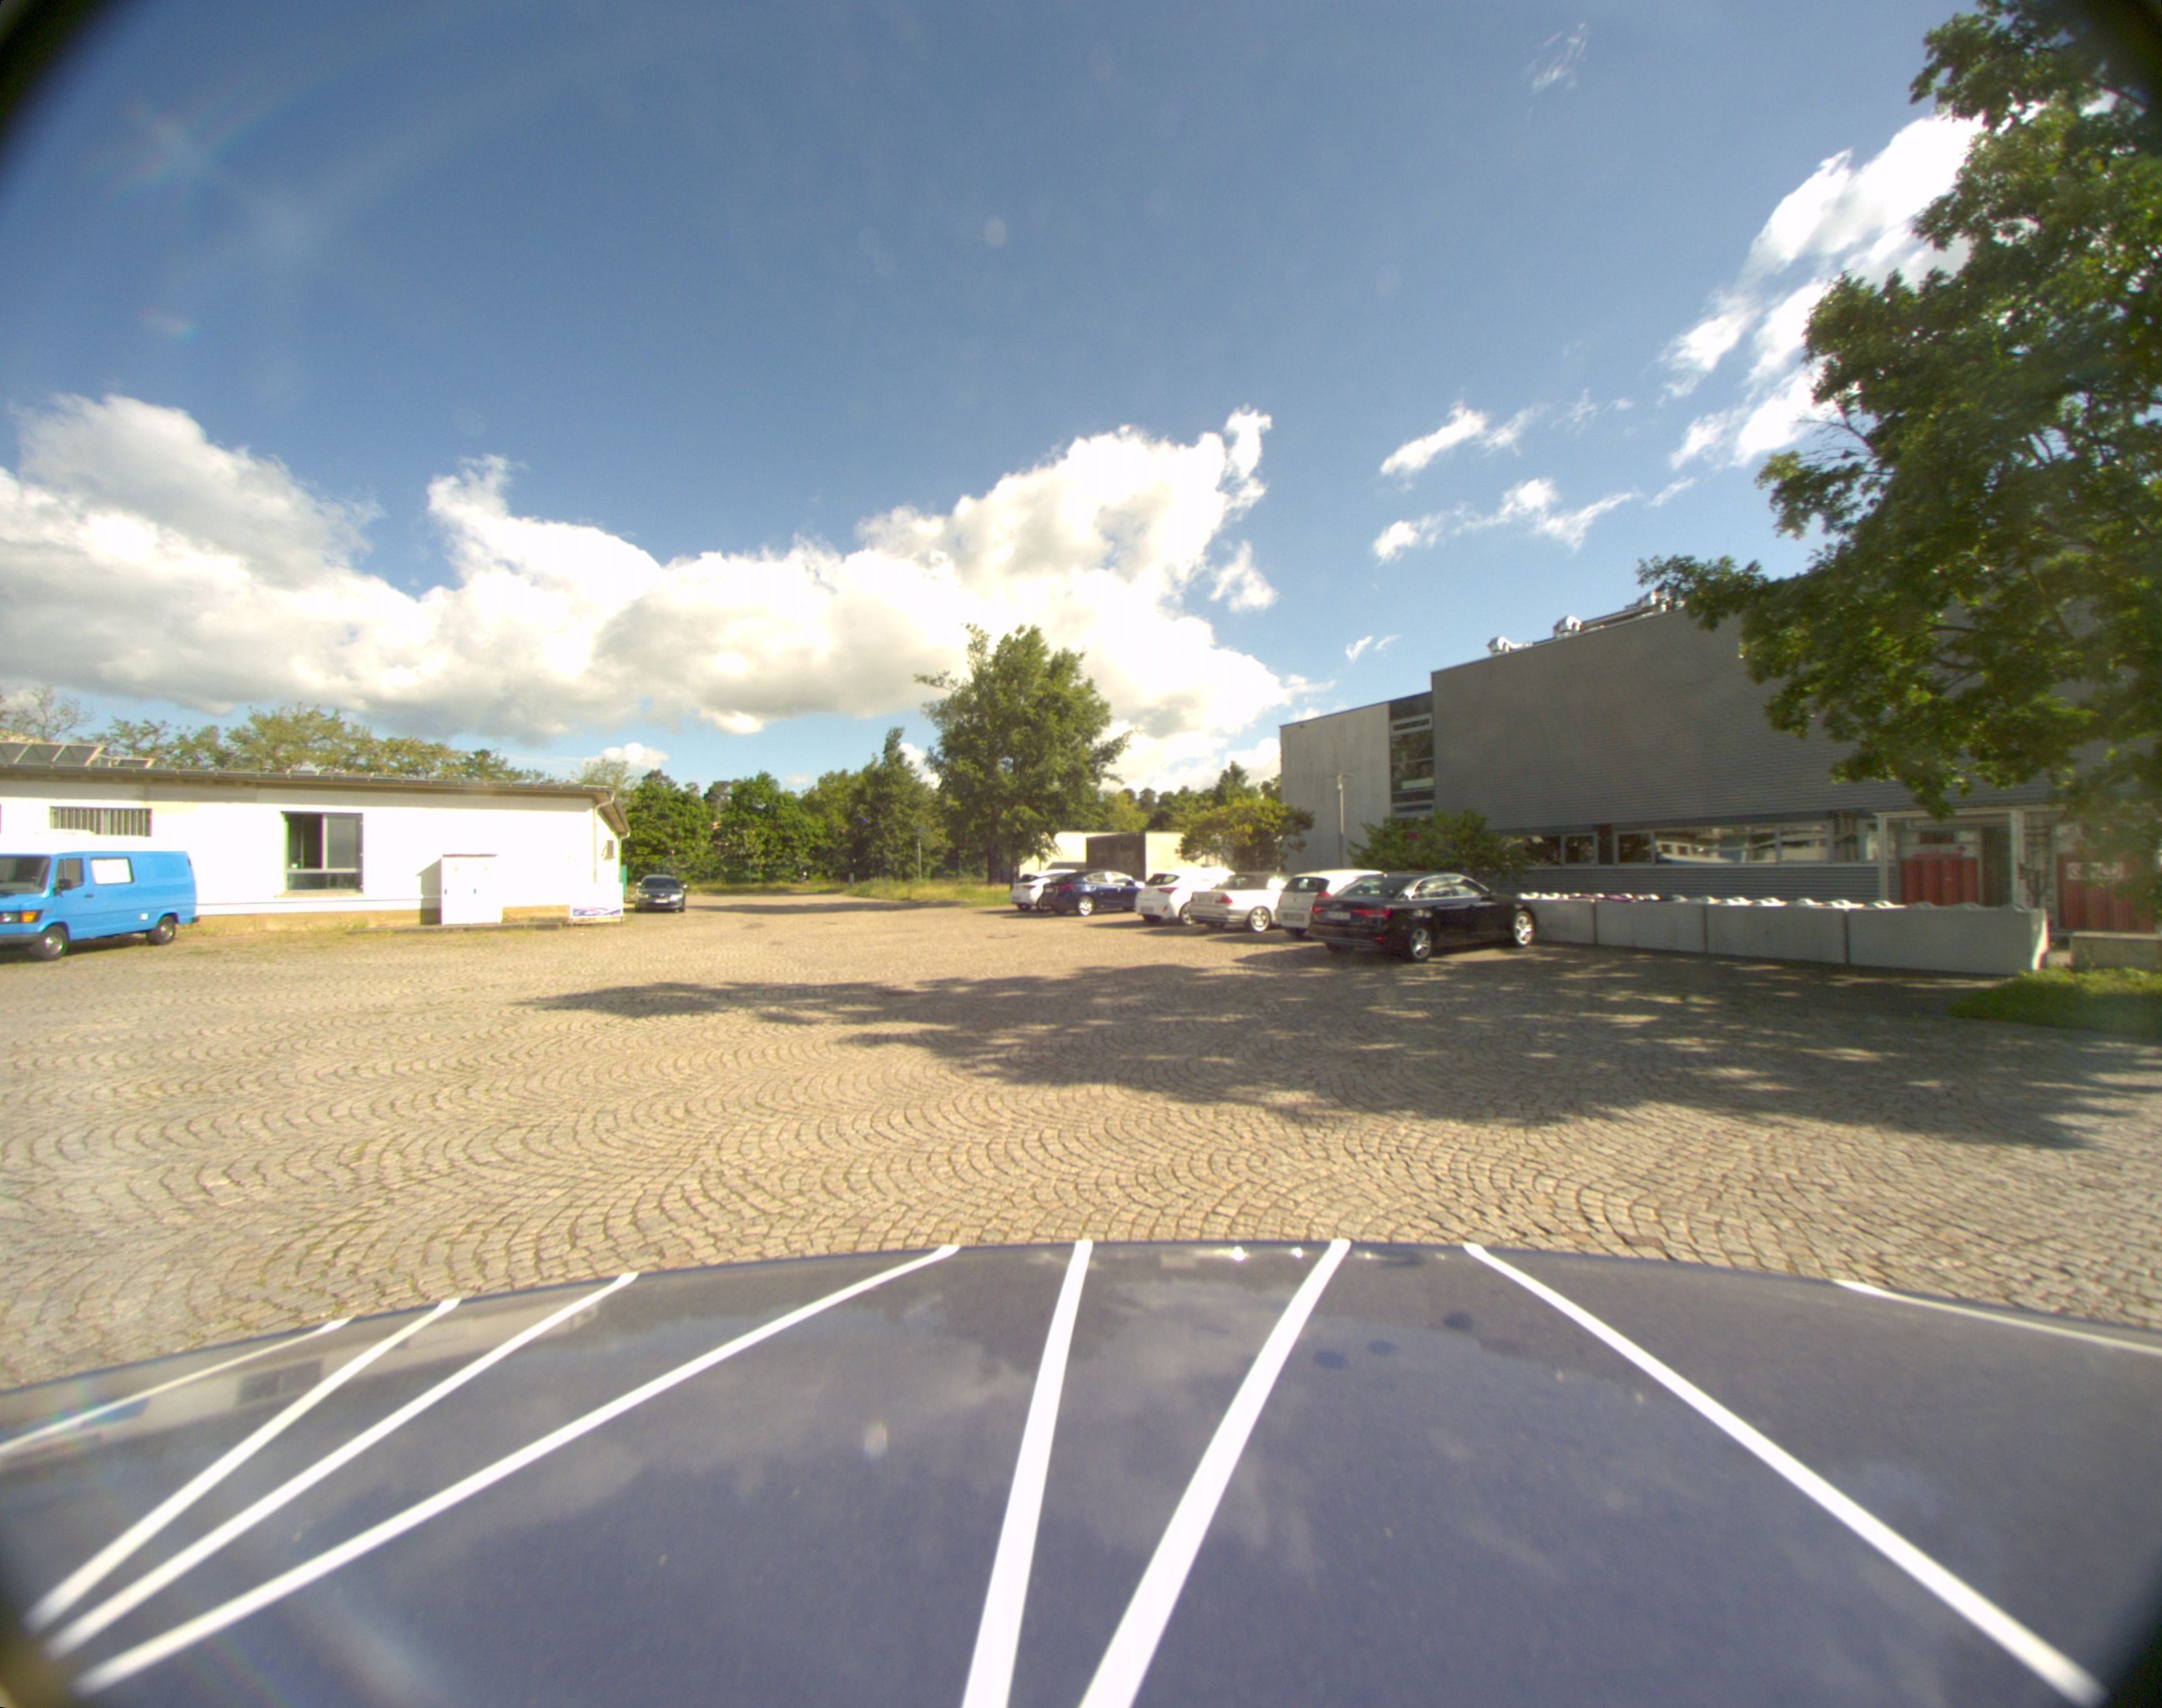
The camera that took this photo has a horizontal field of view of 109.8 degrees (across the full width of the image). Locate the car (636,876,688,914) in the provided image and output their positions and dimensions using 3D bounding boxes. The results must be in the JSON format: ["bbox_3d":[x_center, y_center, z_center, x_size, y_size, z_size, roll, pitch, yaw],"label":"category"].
[{"bbox_3d":[-17.063,1.618,30.986,1.772,1.426,3.983,0,-1,-29],"label":"car"}]

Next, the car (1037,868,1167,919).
[{"bbox_3d":[0.715,1.260,25.174,3.931,1.409,1.689,-2,0,-29],"label":"car"}]

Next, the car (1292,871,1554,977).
[{"bbox_3d":[6.112,1.107,13.396,4.741,1.414,1.753,-2,0,-30],"label":"car"}]

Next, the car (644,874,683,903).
[{"bbox_3d":[-21.761,1.758,39.608,1.695,1.426,3.978,0,-1,-29],"label":"car"}]

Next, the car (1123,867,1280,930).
[{"bbox_3d":[3.306,1.151,20.686,3.931,1.438,1.752,-2,0,-29],"label":"car"}]

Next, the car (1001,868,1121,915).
[{"bbox_3d":[-0.711,1.299,27.412,3.931,1.427,1.792,-2,0,-29],"label":"car"}]

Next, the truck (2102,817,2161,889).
[{"bbox_3d":[59.653,-0.103,39.156,2.655,3.794,8.086,0,-1,-29],"label":"truck"}]

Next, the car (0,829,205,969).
[{"bbox_3d":[-20.867,0.851,15.481,2.092,2.468,5.228,-1,-1,-26],"label":"car"}]

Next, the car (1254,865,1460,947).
[{"bbox_3d":[5.991,1.053,16.453,4.156,1.451,1.688,-2,0,-24],"label":"car"}]

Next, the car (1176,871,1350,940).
[{"bbox_3d":[4.424,1.167,18.379,3.931,1.364,1.724,-2,0,-29],"label":"car"}]
